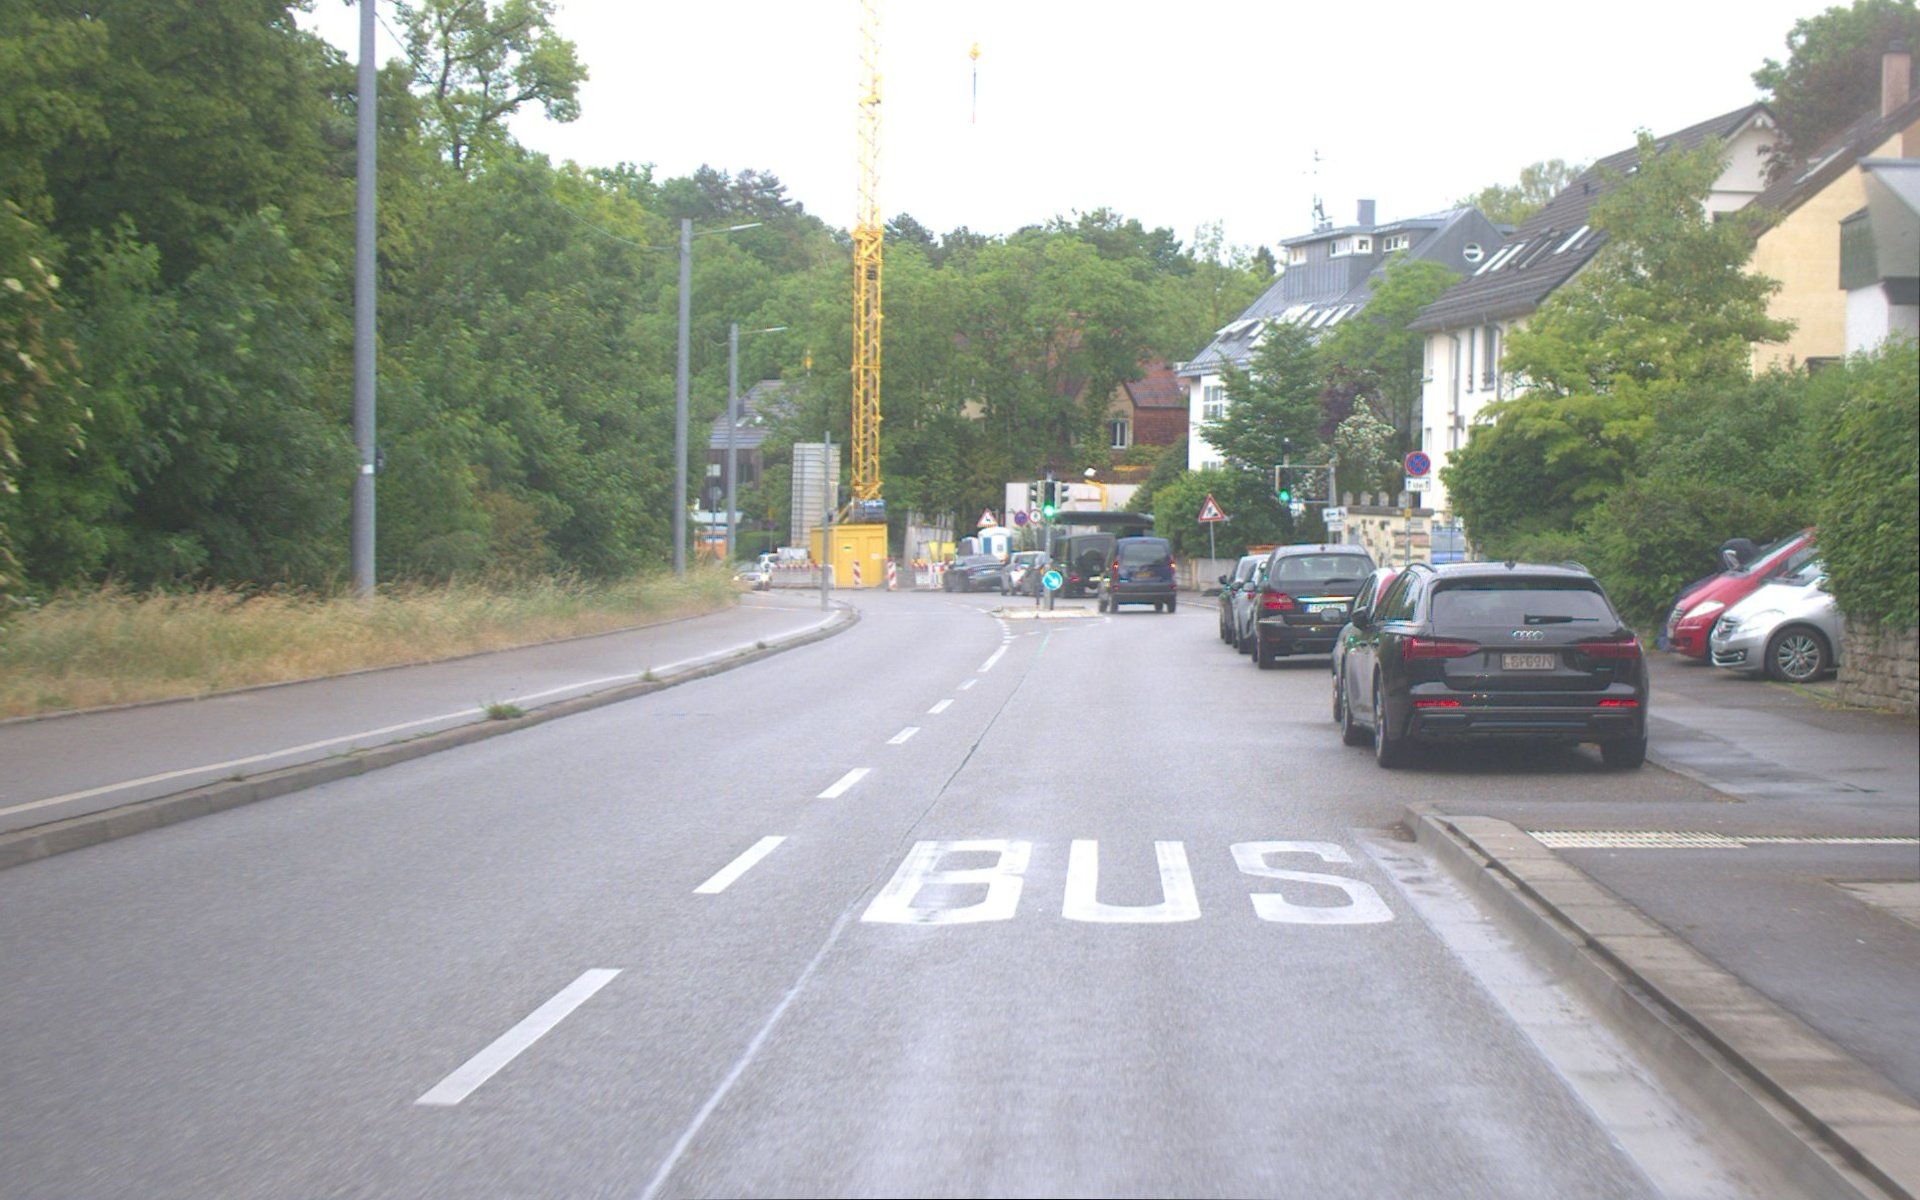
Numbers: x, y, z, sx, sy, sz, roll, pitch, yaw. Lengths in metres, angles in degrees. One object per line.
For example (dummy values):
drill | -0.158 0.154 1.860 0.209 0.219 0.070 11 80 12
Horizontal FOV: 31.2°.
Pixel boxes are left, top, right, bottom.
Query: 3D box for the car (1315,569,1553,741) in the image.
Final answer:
car | 4.076 0.459 30.095 1.813 1.393 4.102 0 0 4

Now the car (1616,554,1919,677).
car | 10.281 0.189 41.971 4.245 1.456 1.882 0 0 3

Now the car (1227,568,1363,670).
car | 5.056 0.290 52.382 1.793 1.482 4.495 0 0 2

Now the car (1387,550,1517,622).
car | 11.672 -0.330 81.828 1.931 1.590 4.343 3 0 -7

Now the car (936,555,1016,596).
car | 0.587 -0.956 130.991 1.931 1.417 4.839 2 1 -13

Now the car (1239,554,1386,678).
car | 4.685 0.173 46.210 1.730 1.562 4.521 -1 1 3

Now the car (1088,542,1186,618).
car | 4.333 -0.473 84.788 1.931 1.745 4.000 3 0 -3

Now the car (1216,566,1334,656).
car | 5.200 0.180 57.184 1.752 1.438 4.600 0 0 3

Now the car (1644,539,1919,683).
car | 9.945 0.110 39.917 3.658 1.561 1.882 -1 0 3

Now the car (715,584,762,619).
car | -9.337 0.072 145.039 1.743 1.455 4.414 0 0 -1

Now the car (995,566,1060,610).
car | 2.289 -0.423 117.095 1.672 1.452 3.386 -1 0 -8

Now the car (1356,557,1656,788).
car | 3.936 0.503 25.440 1.830 1.542 4.629 0 0 4

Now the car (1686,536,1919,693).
car | 9.848 0.106 36.920 3.657 1.531 1.828 -3 1 0

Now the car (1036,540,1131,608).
car | 3.825 -0.826 107.558 1.993 2.007 4.958 2 1 -9

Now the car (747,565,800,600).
car | -9.383 -0.897 172.745 1.744 1.700 4.503 -2 1 -14
